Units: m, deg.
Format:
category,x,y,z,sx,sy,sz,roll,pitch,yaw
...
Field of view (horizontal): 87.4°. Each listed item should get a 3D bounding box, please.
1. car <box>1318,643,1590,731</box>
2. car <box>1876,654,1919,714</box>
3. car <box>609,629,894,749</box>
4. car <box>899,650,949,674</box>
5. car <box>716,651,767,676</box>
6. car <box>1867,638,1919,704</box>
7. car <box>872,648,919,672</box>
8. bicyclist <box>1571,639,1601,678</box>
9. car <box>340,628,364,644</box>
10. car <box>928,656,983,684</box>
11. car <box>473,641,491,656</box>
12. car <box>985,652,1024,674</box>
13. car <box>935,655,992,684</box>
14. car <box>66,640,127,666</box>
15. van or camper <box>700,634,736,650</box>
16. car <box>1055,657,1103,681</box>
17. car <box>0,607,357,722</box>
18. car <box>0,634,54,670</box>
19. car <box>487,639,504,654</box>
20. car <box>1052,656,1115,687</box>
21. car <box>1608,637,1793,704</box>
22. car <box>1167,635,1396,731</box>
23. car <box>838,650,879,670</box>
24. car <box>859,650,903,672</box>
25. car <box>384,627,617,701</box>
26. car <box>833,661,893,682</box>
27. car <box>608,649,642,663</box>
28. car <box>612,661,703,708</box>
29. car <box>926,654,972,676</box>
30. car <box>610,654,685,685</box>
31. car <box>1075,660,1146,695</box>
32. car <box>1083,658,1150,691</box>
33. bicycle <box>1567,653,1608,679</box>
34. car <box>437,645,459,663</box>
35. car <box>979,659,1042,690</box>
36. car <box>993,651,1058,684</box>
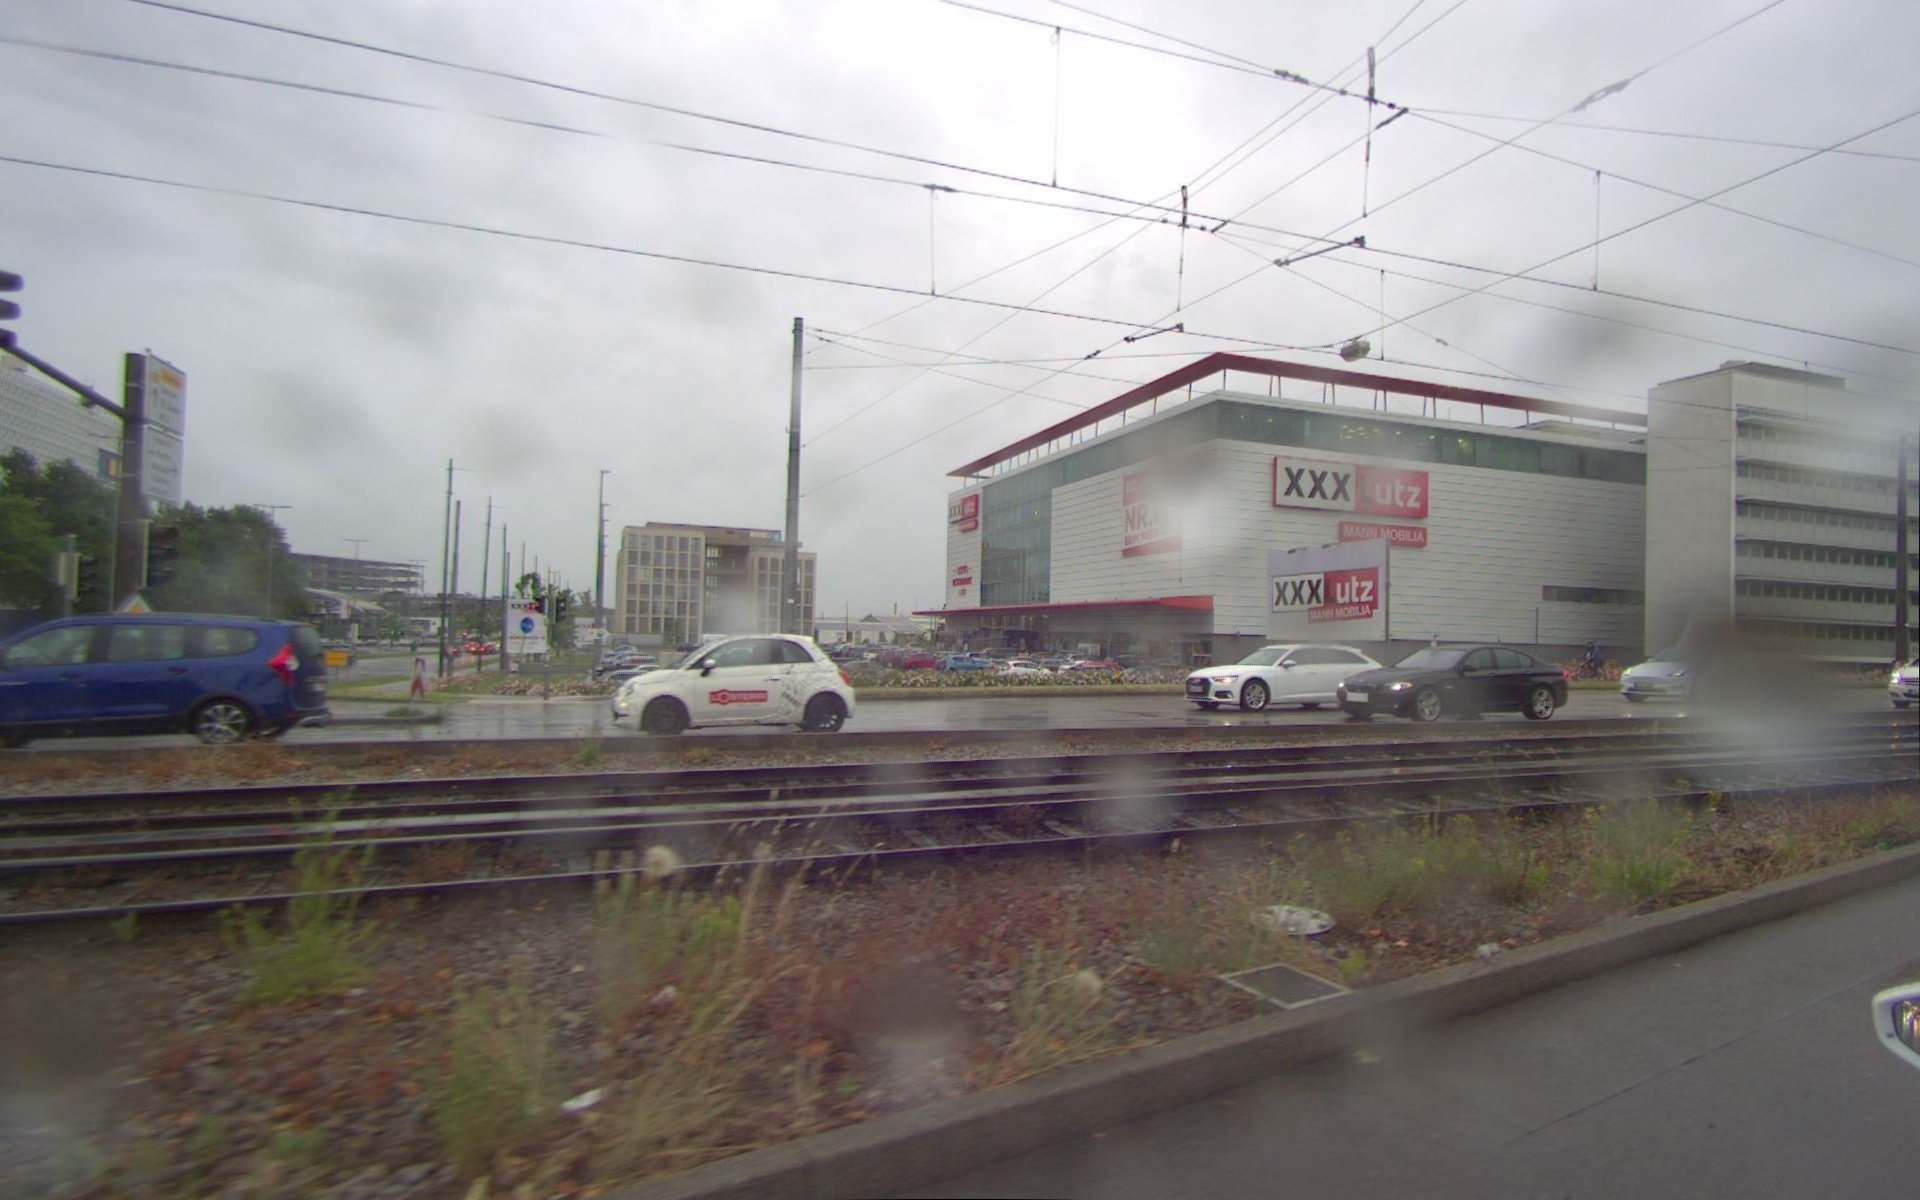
category,x,y,z,sx,sy,sz,roll,pitch,yaw
car,9.718,1.634,19.769,5.007,1.442,1.920,1,0,-21
car,32.395,2.736,32.665,4.623,1.858,1.991,2,-2,-21
car,-3.139,1.240,15.036,3.986,1.556,1.710,1,0,-20
car,-3.214,5.488,89.056,3.945,2.040,1.988,2,1,-25
car,-18.234,5.330,83.763,3.783,1.930,1.812,2,0,-26
car,25.797,1.815,25.872,4.262,1.595,1.870,1,0,-20
car,-5.999,5.578,93.331,3.945,2.040,1.988,2,1,-25
bicyclist,26.406,2.472,42.373,0.780,1.611,0.670,2,1,-22
car,-85.487,5.005,141.246,1.970,2.040,3.982,2,0,-20
car,-0.361,5.639,81.022,3.945,2.040,1.988,2,1,-25
car,-70.642,7.115,148.451,1.970,2.040,3.982,2,0,-20
car,4.741,6.584,105.777,3.919,2.040,2.001,2,0,5
car,0.239,5.414,78.152,3.945,2.040,1.988,2,1,-25
car,-54.320,3.335,63.260,1.577,1.425,3.809,2,0,-19
van or camper,-35.980,6.239,149.548,4.929,2.141,1.774,2,0,-27
car,10.932,6.369,92.211,3.946,2.040,1.988,2,0,-25
car,-10.214,0.742,12.490,4.395,1.266,1.709,1,0,-21
car,-51.389,2.782,54.595,1.656,1.695,3.997,2,0,-19
car,-71.836,7.130,155.322,1.970,2.040,3.982,2,0,-20
car,8.736,5.031,71.012,3.945,2.040,1.988,2,1,-25
car,20.406,1.889,27.666,4.773,1.628,1.903,1,1,-23
car,7.280,1.846,22.759,4.721,1.927,1.990,2,0,-22
car,-11.080,6.569,109.820,3.945,2.040,1.988,2,1,-25
car,-7.969,6.104,100.966,3.945,2.040,1.988,2,1,-25
car,-8.643,1.186,19.223,3.851,1.266,1.581,1,0,-17
car,-6.506,4.811,67.258,3.674,1.281,1.543,2,0,-25
car,-37.171,6.228,111.466,3.511,1.425,1.779,2,0,-19
car,-14.615,4.030,48.508,3.945,2.040,1.988,2,1,-25
car,-1.068,6.338,97.755,3.946,2.040,1.988,2,0,-25
car,-17.972,3.984,57.756,3.945,1.626,1.795,2,0,-25
car,9.427,4.844,63.002,3.945,2.040,1.988,2,1,-25
car,10.544,4.995,67.645,3.945,2.040,1.988,2,1,-25
bicycle,26.501,2.776,42.420,1.533,1.029,0.667,2,1,-22
car,-64.804,6.875,127.212,1.970,2.040,3.982,2,0,-20
car,3.611,5.304,71.663,3.945,2.040,1.988,2,1,-25
car,4.498,4.634,69.001,3.945,2.040,1.988,2,1,-25
